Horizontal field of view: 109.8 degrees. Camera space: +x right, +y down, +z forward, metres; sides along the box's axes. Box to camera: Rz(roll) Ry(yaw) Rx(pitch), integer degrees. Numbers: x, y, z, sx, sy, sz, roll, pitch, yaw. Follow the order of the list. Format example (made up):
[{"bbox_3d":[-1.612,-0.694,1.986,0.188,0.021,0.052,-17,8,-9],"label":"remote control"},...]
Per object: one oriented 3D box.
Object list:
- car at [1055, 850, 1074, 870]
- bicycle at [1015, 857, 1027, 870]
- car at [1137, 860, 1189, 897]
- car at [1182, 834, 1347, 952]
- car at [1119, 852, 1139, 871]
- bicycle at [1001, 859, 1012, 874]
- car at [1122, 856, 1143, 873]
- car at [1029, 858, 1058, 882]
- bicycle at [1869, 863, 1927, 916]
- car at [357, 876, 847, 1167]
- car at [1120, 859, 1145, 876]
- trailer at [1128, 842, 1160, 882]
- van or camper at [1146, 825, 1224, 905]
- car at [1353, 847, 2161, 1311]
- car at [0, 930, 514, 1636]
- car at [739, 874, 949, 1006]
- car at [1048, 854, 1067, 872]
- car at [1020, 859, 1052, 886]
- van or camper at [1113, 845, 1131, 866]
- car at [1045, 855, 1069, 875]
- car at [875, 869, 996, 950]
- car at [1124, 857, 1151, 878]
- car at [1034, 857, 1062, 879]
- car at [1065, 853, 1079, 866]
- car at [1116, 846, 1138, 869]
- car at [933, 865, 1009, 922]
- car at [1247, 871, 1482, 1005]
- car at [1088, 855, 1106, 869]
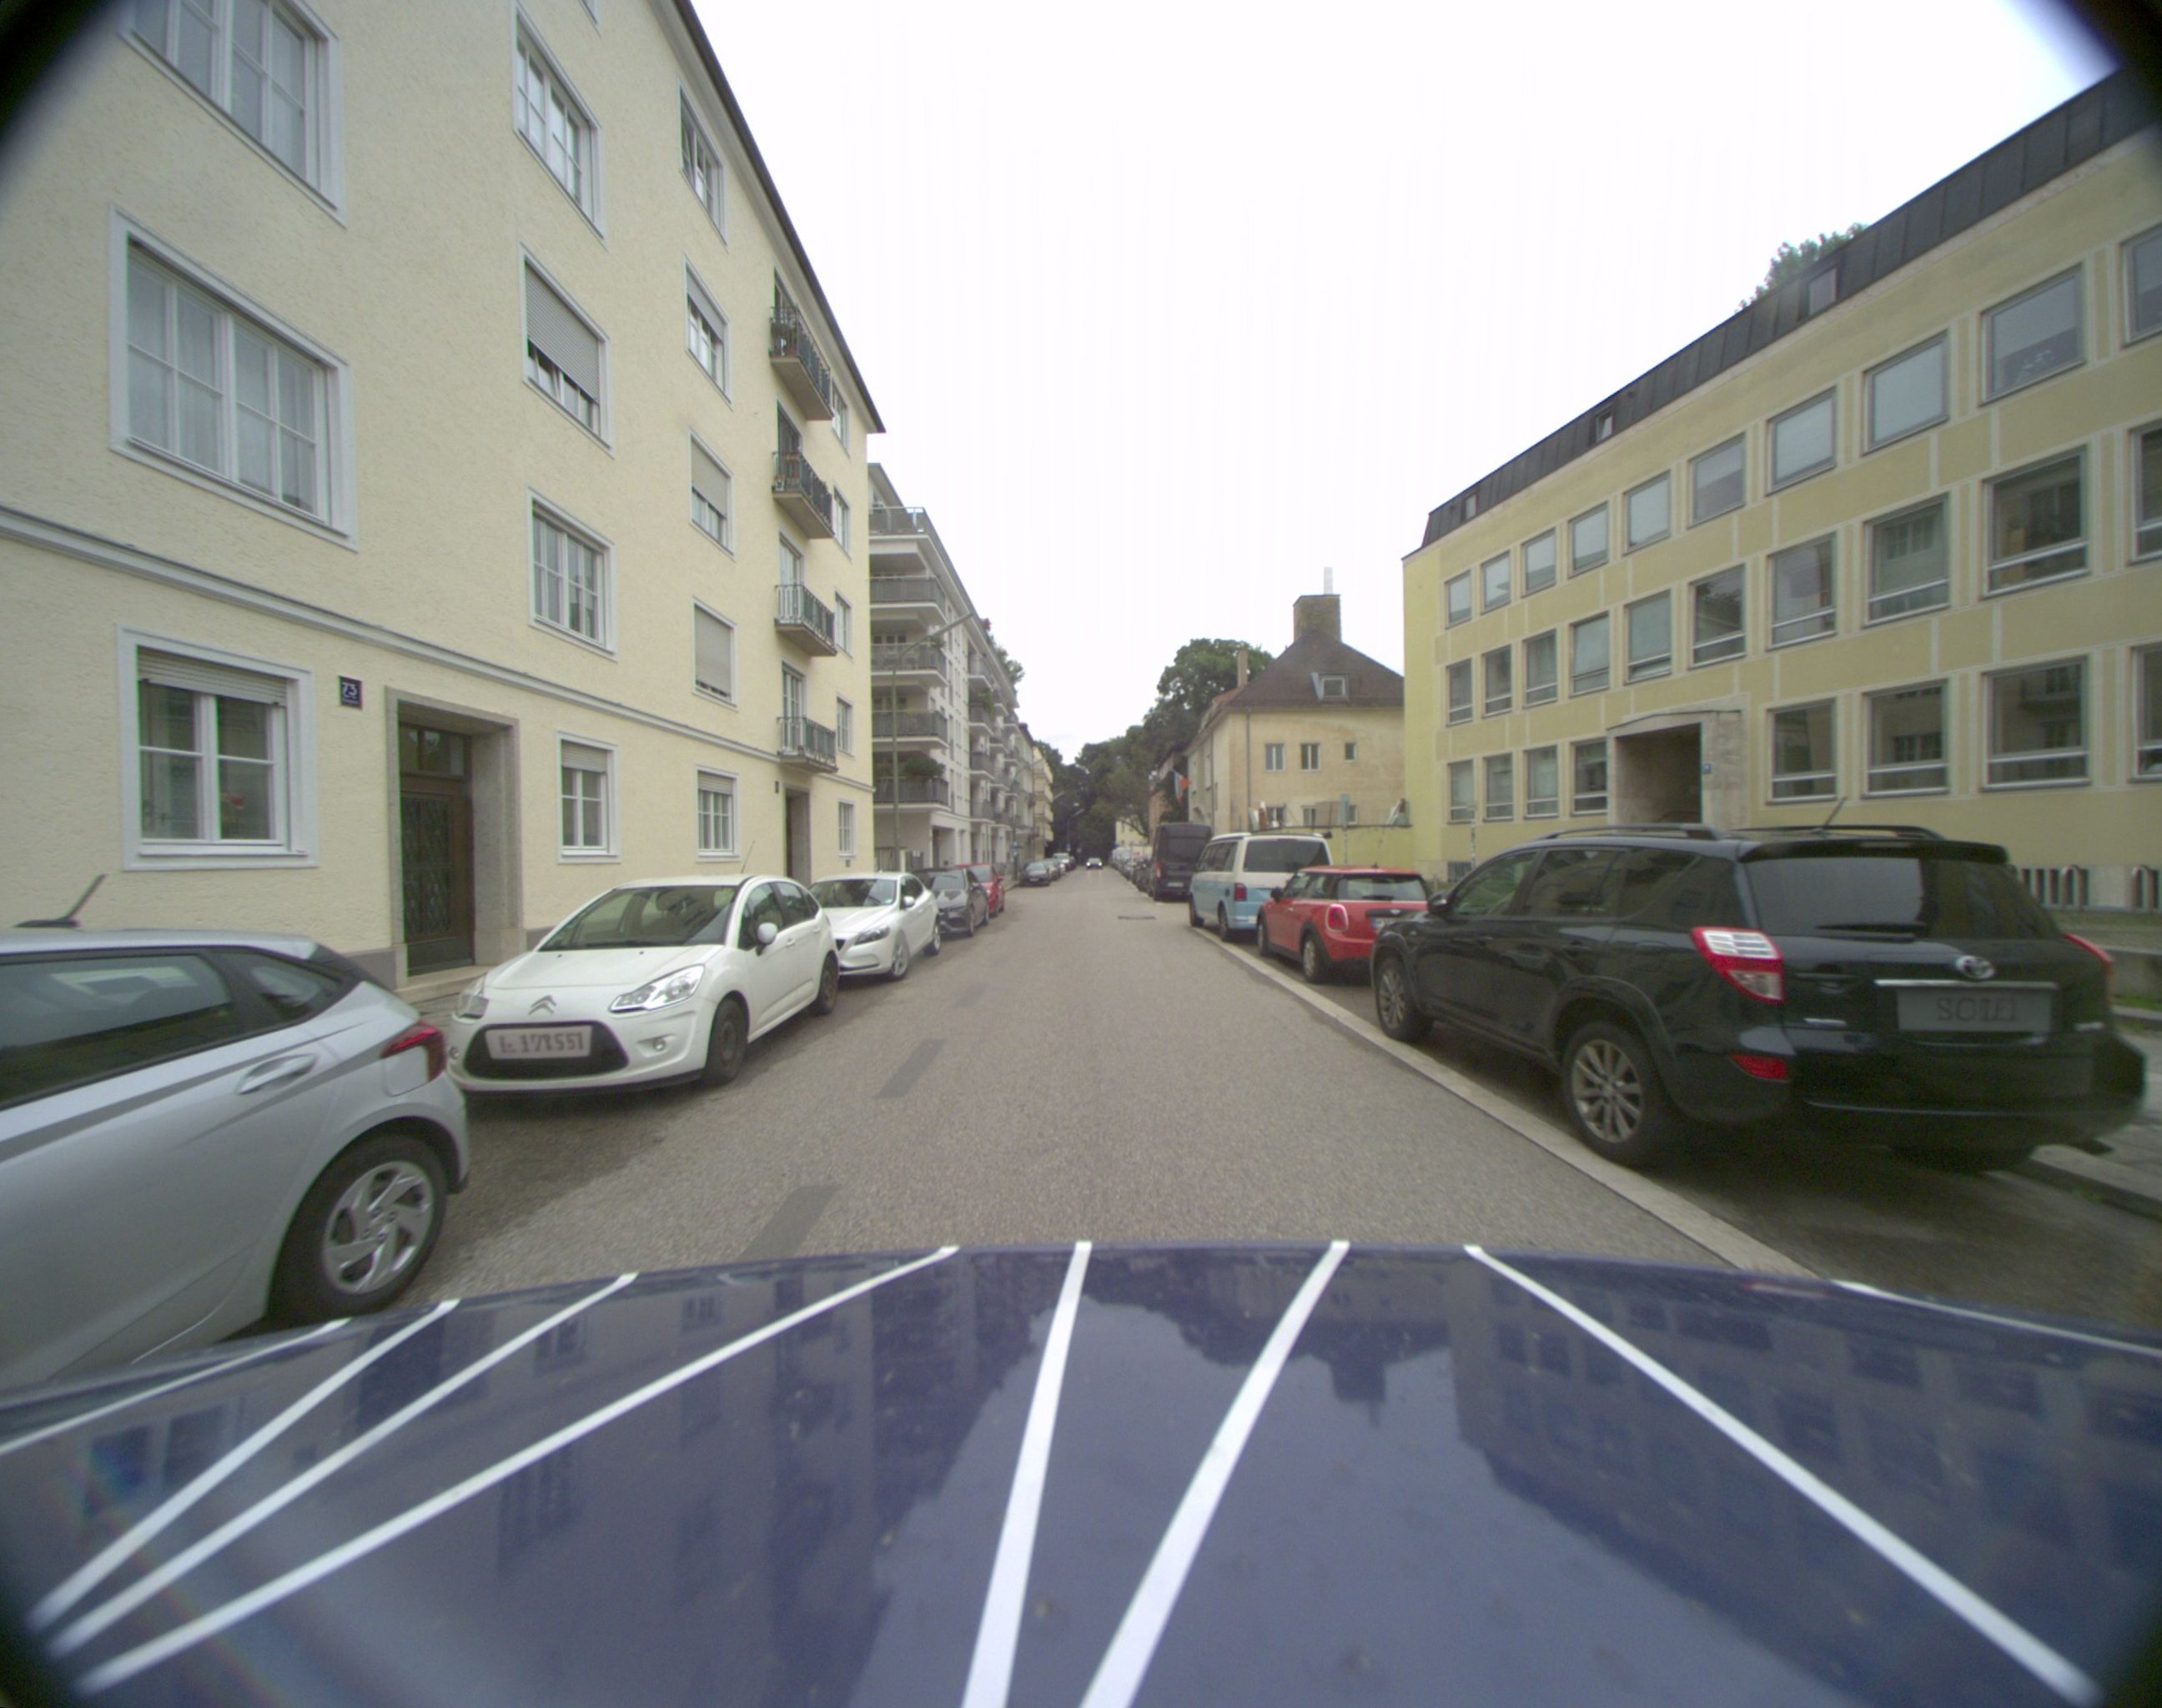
[{"bbox_3d":[-1.771,0.629,82.234,1.858,2.019,4.783,-2,0,1],"label":"car"},{"bbox_3d":[-5.386,0.821,68.027,0.803,1.165,1.974,-1,0,1],"label":"bicycle"},{"bbox_3d":[3.550,1.018,33.427,1.657,1.488,3.908,1,0,-3],"label":"car"},{"bbox_3d":[3.393,0.674,15.124,1.920,1.948,4.961,1,0,-2],"label":"car"},{"bbox_3d":[4.593,0.730,72.810,1.719,1.745,4.250,0,0,0],"label":"car"},{"bbox_3d":[-5.842,0.945,59.410,0.570,1.091,1.810,2,0,1],"label":"bicycle"},{"bbox_3d":[4.438,0.891,66.404,1.630,1.459,3.520,0,0,0],"label":"car"},{"bbox_3d":[-2.423,1.031,50.465,1.621,1.458,3.747,-2,0,1],"label":"car"},{"bbox_3d":[16.023,0.684,14.892,1.413,0.939,0.413,-3,1,-28],"label":"bicycle"},{"bbox_3d":[-3.385,1.025,6.407,1.655,1.534,3.993,-2,0,-2],"label":"car"},{"bbox_3d":[4.145,1.056,61.442,1.750,1.360,4.403,0,0,0],"label":"car"},{"bbox_3d":[4.177,0.491,50.589,1.980,2.457,4.578,2,1,4],"label":"trailer"},{"bbox_3d":[3.713,0.376,28.168,2.298,2.635,5.562,1,0,2],"label":"van or camper"},{"bbox_3d":[3.366,0.829,4.832,1.719,1.679,4.140,0,0,-1],"label":"car"},{"bbox_3d":[-3.311,1.068,1.191,1.729,1.441,4.187,-2,0,-1],"label":"car"},{"bbox_3d":[-3.187,1.079,11.166,1.729,1.421,4.293,-2,0,-1],"label":"car"},{"bbox_3d":[-2.079,0.738,67.480,1.668,1.459,4.374,-1,1,-1],"label":"car"},{"bbox_3d":[-2.639,1.080,45.553,1.776,1.467,4.217,-1,0,-2],"label":"car"},{"bbox_3d":[5.398,0.210,99.498,2.116,2.646,4.958,0,0,0],"label":"van or camper"},{"bbox_3d":[-1.909,0.875,61.345,1.842,1.524,4.021,-1,0,-1],"label":"car"},{"bbox_3d":[-3.042,1.103,16.883,1.777,1.421,4.615,-2,0,0],"label":"car"},{"bbox_3d":[4.113,0.960,55.536,1.683,1.521,4.107,0,0,0],"label":"car"},{"bbox_3d":[-2.363,0.986,55.447,1.796,1.473,4.603,-2,0,-1],"label":"car"},{"bbox_3d":[-1.141,0.690,99.215,1.771,1.607,4.263,-1,0,0],"label":"car"},{"bbox_3d":[4.945,0.404,83.066,2.117,2.461,5.231,0,0,0],"label":"car"},{"bbox_3d":[-3.085,1.065,22.003,1.659,1.421,3.756,-2,0,-1],"label":"car"},{"bbox_3d":[3.582,0.982,10.370,1.809,1.398,3.709,1,0,0],"label":"car"},{"bbox_3d":[1.792,0.907,86.964,1.998,1.521,4.000,-2,0,1],"label":"car"}]
